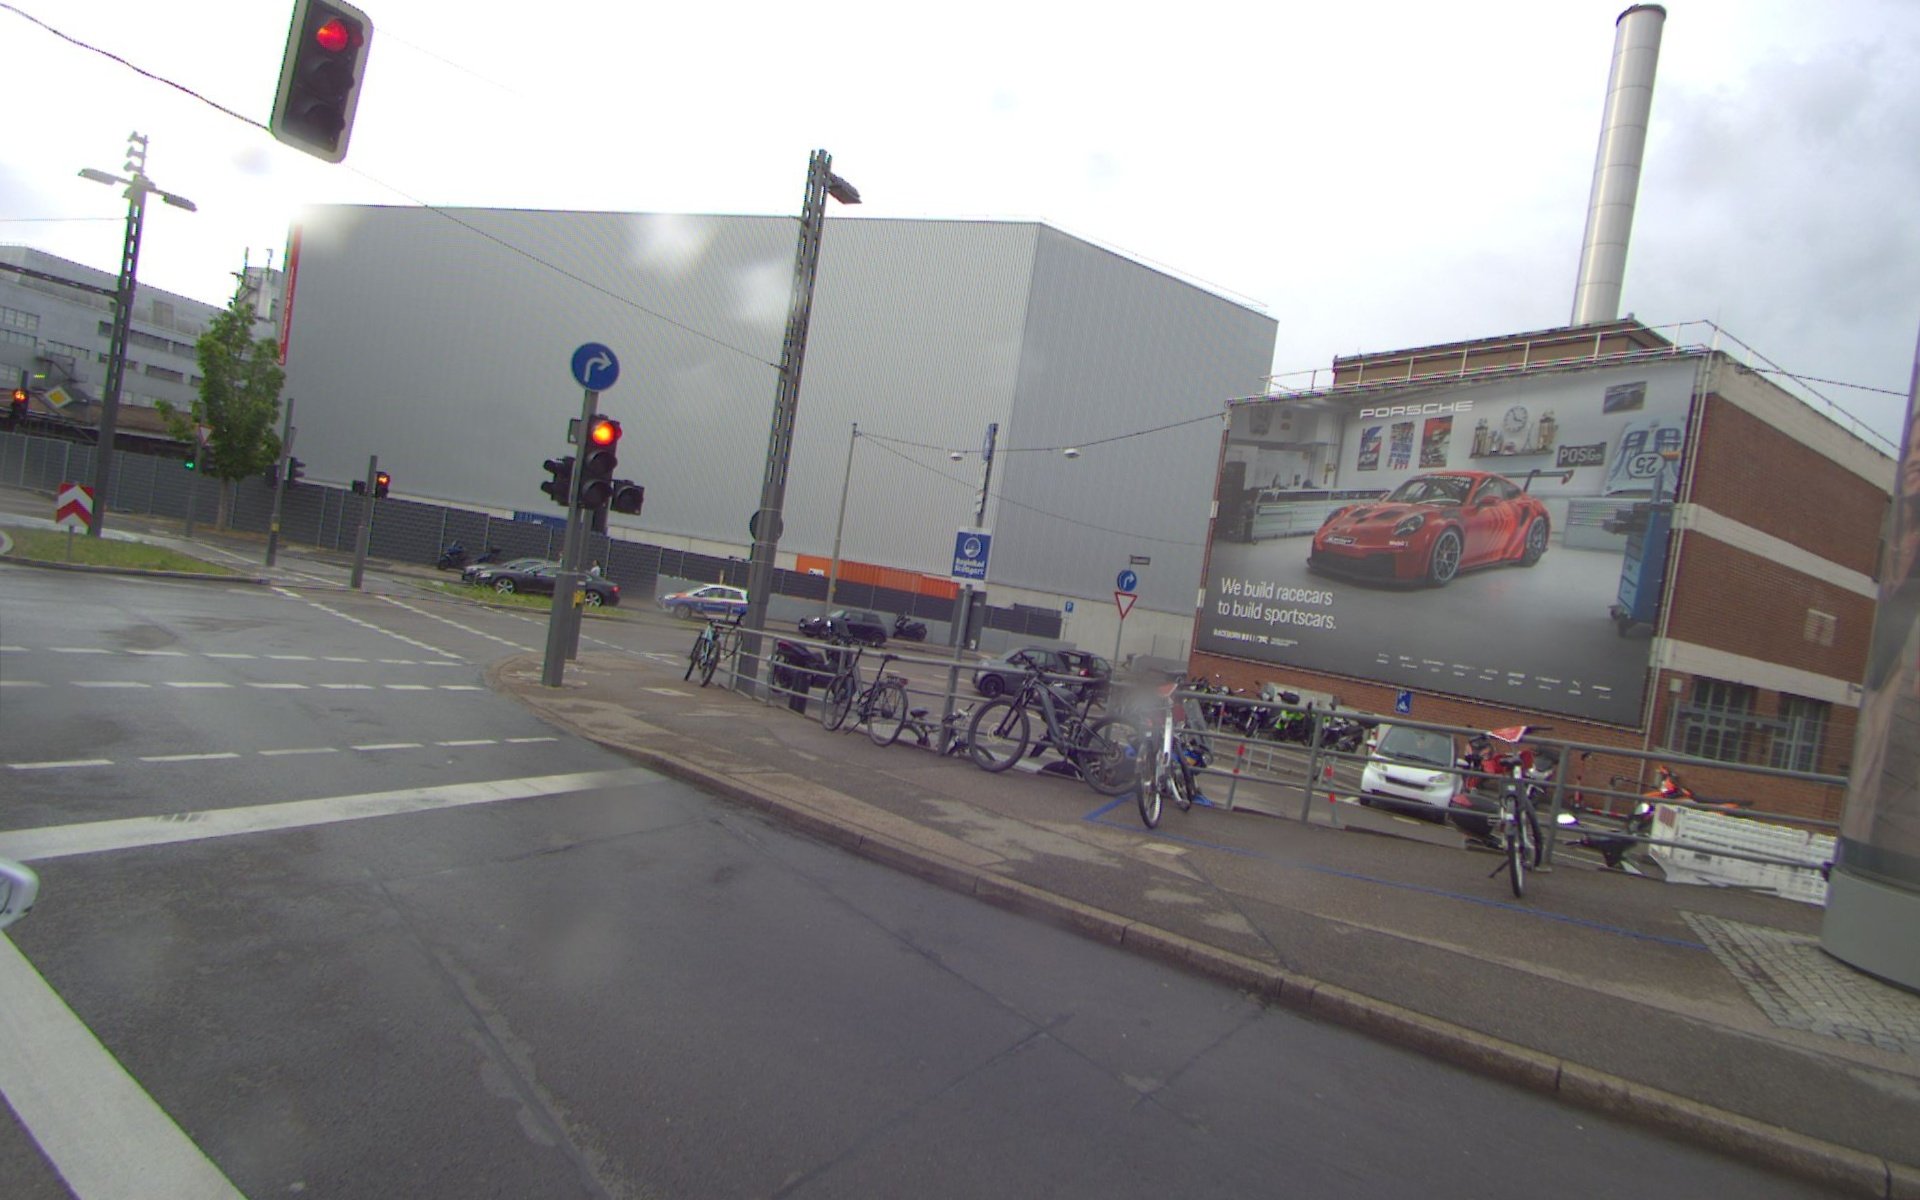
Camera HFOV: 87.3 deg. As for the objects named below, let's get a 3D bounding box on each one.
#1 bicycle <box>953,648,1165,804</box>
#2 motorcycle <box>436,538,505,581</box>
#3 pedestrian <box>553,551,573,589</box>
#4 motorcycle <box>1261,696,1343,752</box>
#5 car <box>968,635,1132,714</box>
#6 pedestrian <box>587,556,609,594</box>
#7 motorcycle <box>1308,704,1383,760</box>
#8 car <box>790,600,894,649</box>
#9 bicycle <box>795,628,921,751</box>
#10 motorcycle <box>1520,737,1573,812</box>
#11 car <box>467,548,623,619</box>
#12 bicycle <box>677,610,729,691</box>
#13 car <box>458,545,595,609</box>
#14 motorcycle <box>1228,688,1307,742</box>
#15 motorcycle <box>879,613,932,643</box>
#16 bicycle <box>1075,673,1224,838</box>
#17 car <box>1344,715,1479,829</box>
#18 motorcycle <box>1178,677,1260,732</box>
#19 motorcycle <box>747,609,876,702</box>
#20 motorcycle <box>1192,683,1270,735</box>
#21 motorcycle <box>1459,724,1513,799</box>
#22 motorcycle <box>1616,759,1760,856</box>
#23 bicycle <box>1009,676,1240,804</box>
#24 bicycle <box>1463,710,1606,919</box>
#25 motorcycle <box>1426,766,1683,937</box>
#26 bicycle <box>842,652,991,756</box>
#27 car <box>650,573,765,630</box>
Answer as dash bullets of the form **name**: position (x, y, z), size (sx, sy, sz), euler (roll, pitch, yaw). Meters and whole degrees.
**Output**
- **bicycle**: position (0.908, 1.157, 9.643), size (1.969, 1.176, 0.385), euler (6, 0, 35)
- **motorcycle**: position (-19.753, -1.626, 40.595), size (2.335, 1.360, 0.648), euler (8, 0, -30)
- **pedestrian**: position (-16.402, -1.250, 41.567), size (0.605, 1.499, 0.421), euler (7, 0, -23)
- **motorcycle**: position (8.513, 3.097, 25.053), size (1.999, 1.206, 0.605), euler (6, 3, -29)
- **car**: position (2.401, 2.015, 27.486), size (4.091, 1.547, 1.836), euler (8, -2, -3)
- **pedestrian**: position (-15.023, -1.025, 41.734), size (0.642, 1.499, 0.436), euler (7, 0, -25)
- **motorcycle**: position (9.317, 3.185, 24.287), size (2.005, 1.206, 0.603), euler (6, 3, -38)
- **car**: position (-5.046, 1.068, 43.145), size (3.958, 1.408, 1.744), euler (10, -1, -29)
- **bicycle**: position (-1.177, 0.975, 11.273), size (0.383, 1.133, 1.731), euler (6, 0, -40)
- **motorcycle**: position (12.488, 3.674, 21.392), size (0.564, 1.327, 1.863), euler (10, 3, 37)
- **car**: position (-13.798, -0.537, 33.522), size (4.536, 1.557, 1.744), euler (10, -1, -29)
- **bicycle**: position (-4.106, 0.778, 16.022), size (0.381, 1.111, 1.740), euler (6, 0, -25)
- **car**: position (-15.630, -0.830, 36.315), size (4.254, 1.557, 1.744), euler (10, -1, -29)
- **motorcycle**: position (7.994, 2.986, 26.101), size (1.999, 1.206, 0.605), euler (6, 3, -29)
- **motorcycle**: position (-2.789, 1.450, 51.623), size (2.471, 1.200, 0.991), euler (8, -1, -34)
- **bicycle**: position (1.638, 1.230, 8.444), size (0.666, 1.154, 1.774), euler (6, -1, 27)
- **car**: position (8.436, 3.073, 18.629), size (1.665, 1.499, 3.555), euler (10, 1, 31)
- **motorcycle**: position (7.252, 2.926, 28.200), size (1.987, 1.206, 0.608), euler (7, 3, -4)
- **motorcycle**: position (-2.676, 1.034, 18.381), size (0.746, 1.469, 2.225), euler (8, -1, 42)
- **motorcycle**: position (7.293, 2.937, 27.079), size (1.998, 1.206, 0.605), euler (6, 3, -27)
- **motorcycle**: position (11.587, 3.516, 22.123), size (0.677, 1.327, 2.016), euler (9, 3, 33)
- **motorcycle**: position (14.113, 3.982, 19.538), size (0.922, 1.327, 1.961), euler (5, 4, -41)
- **bicycle**: position (1.647, 1.381, 10.248), size (2.138, 0.916, 0.693), euler (6, -1, 32)
- **bicycle**: position (4.162, 1.480, 7.408), size (0.581, 1.176, 1.805), euler (6, 0, 23)
- **motorcycle**: position (5.092, 2.134, 8.751), size (1.718, 1.002, 0.699), euler (8, 0, 21)
- **bicycle**: position (-0.530, 1.169, 11.521), size (1.789, 0.916, 0.530), euler (6, -1, 44)
- **car**: position (-10.072, 0.073, 40.170), size (3.939, 1.620, 1.897), euler (10, -1, -29)
